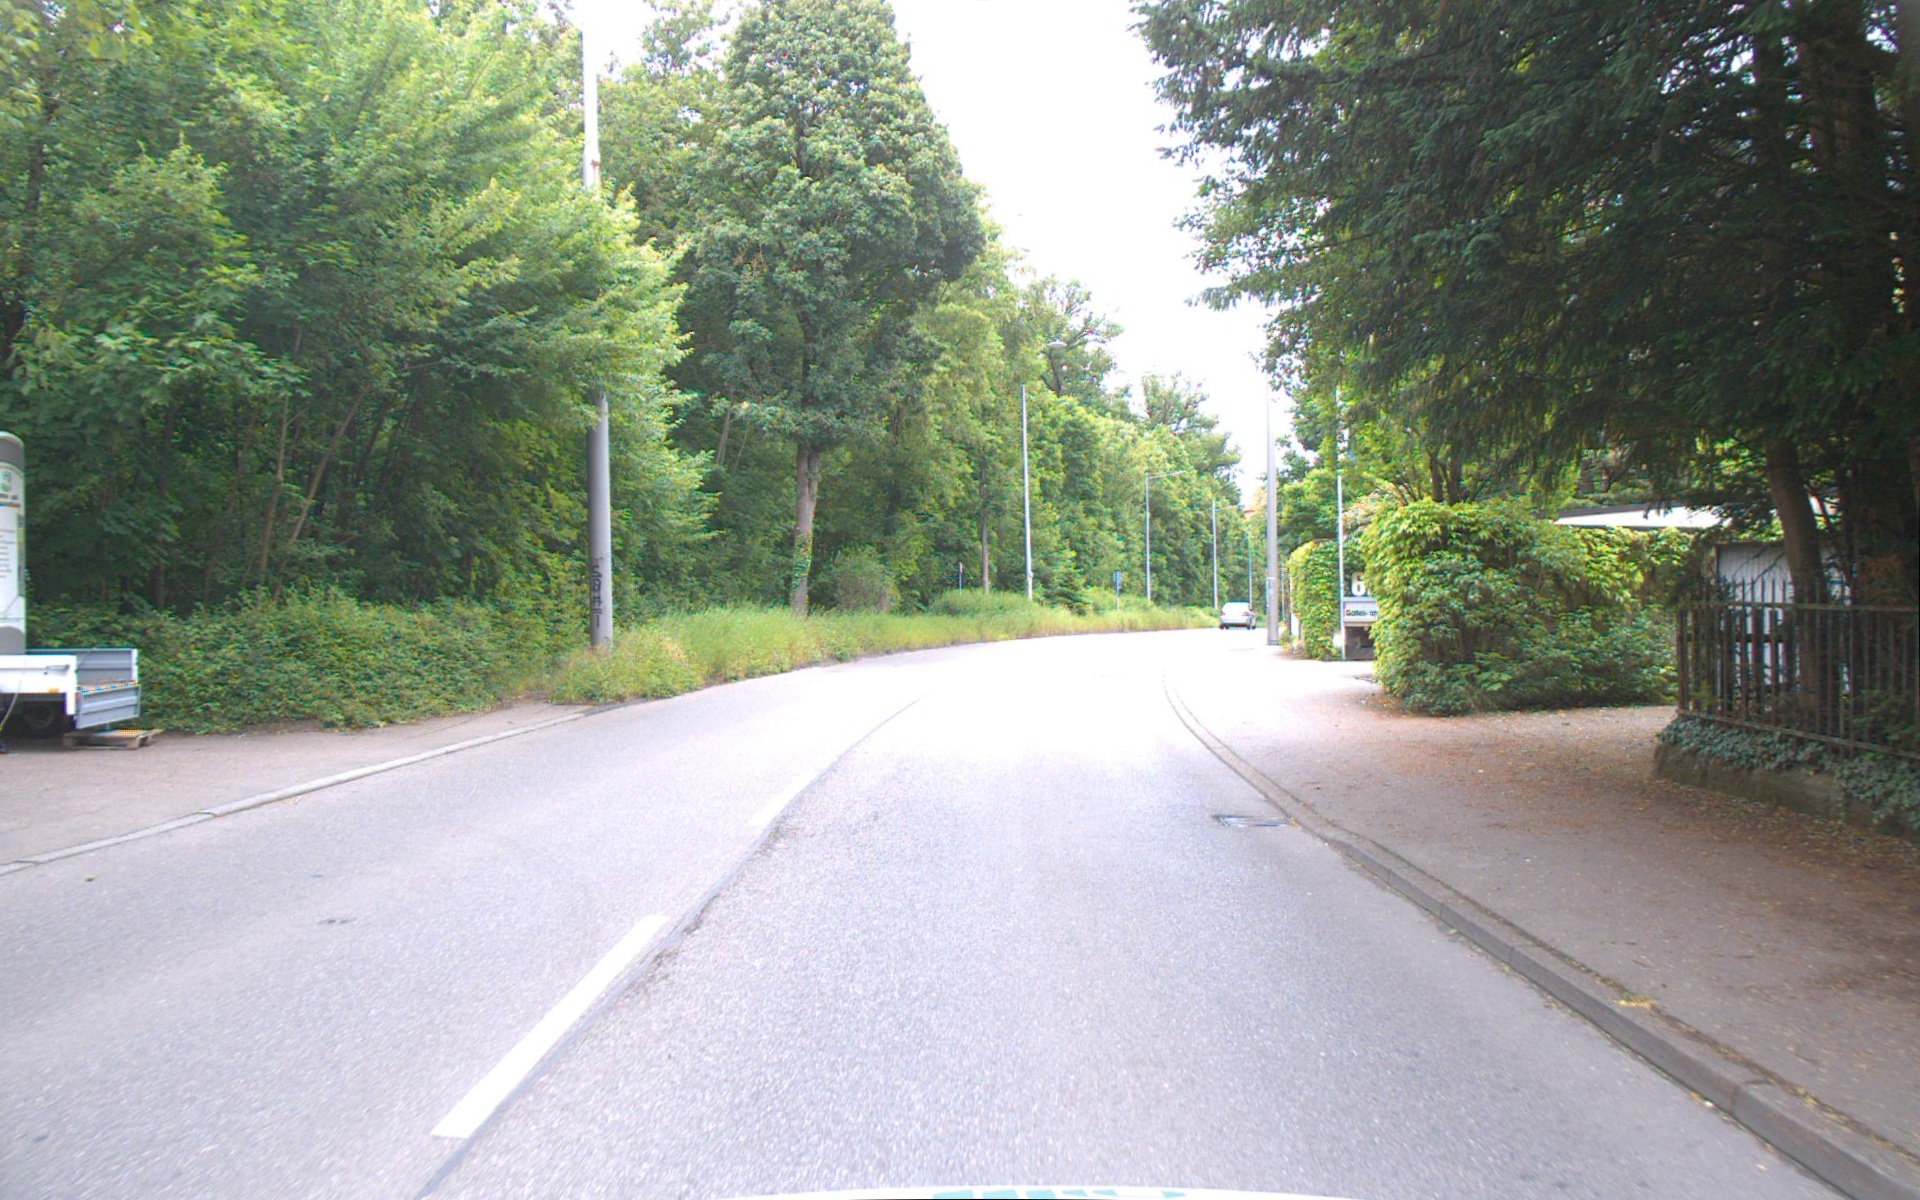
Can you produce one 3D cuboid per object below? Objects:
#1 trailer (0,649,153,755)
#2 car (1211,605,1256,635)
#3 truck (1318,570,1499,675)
[{"bbox_3d":[-8.896,0.892,14.574,2.901,0.843,1.472,-1,0,-11],"label":"trailer"},{"bbox_3d":[14.814,1.063,89.524,1.951,1.512,4.003,-1,0,16],"label":"car"},{"bbox_3d":[7.709,0.363,28.631,1.334,1.719,3.032,0,0,-27],"label":"truck"}]
